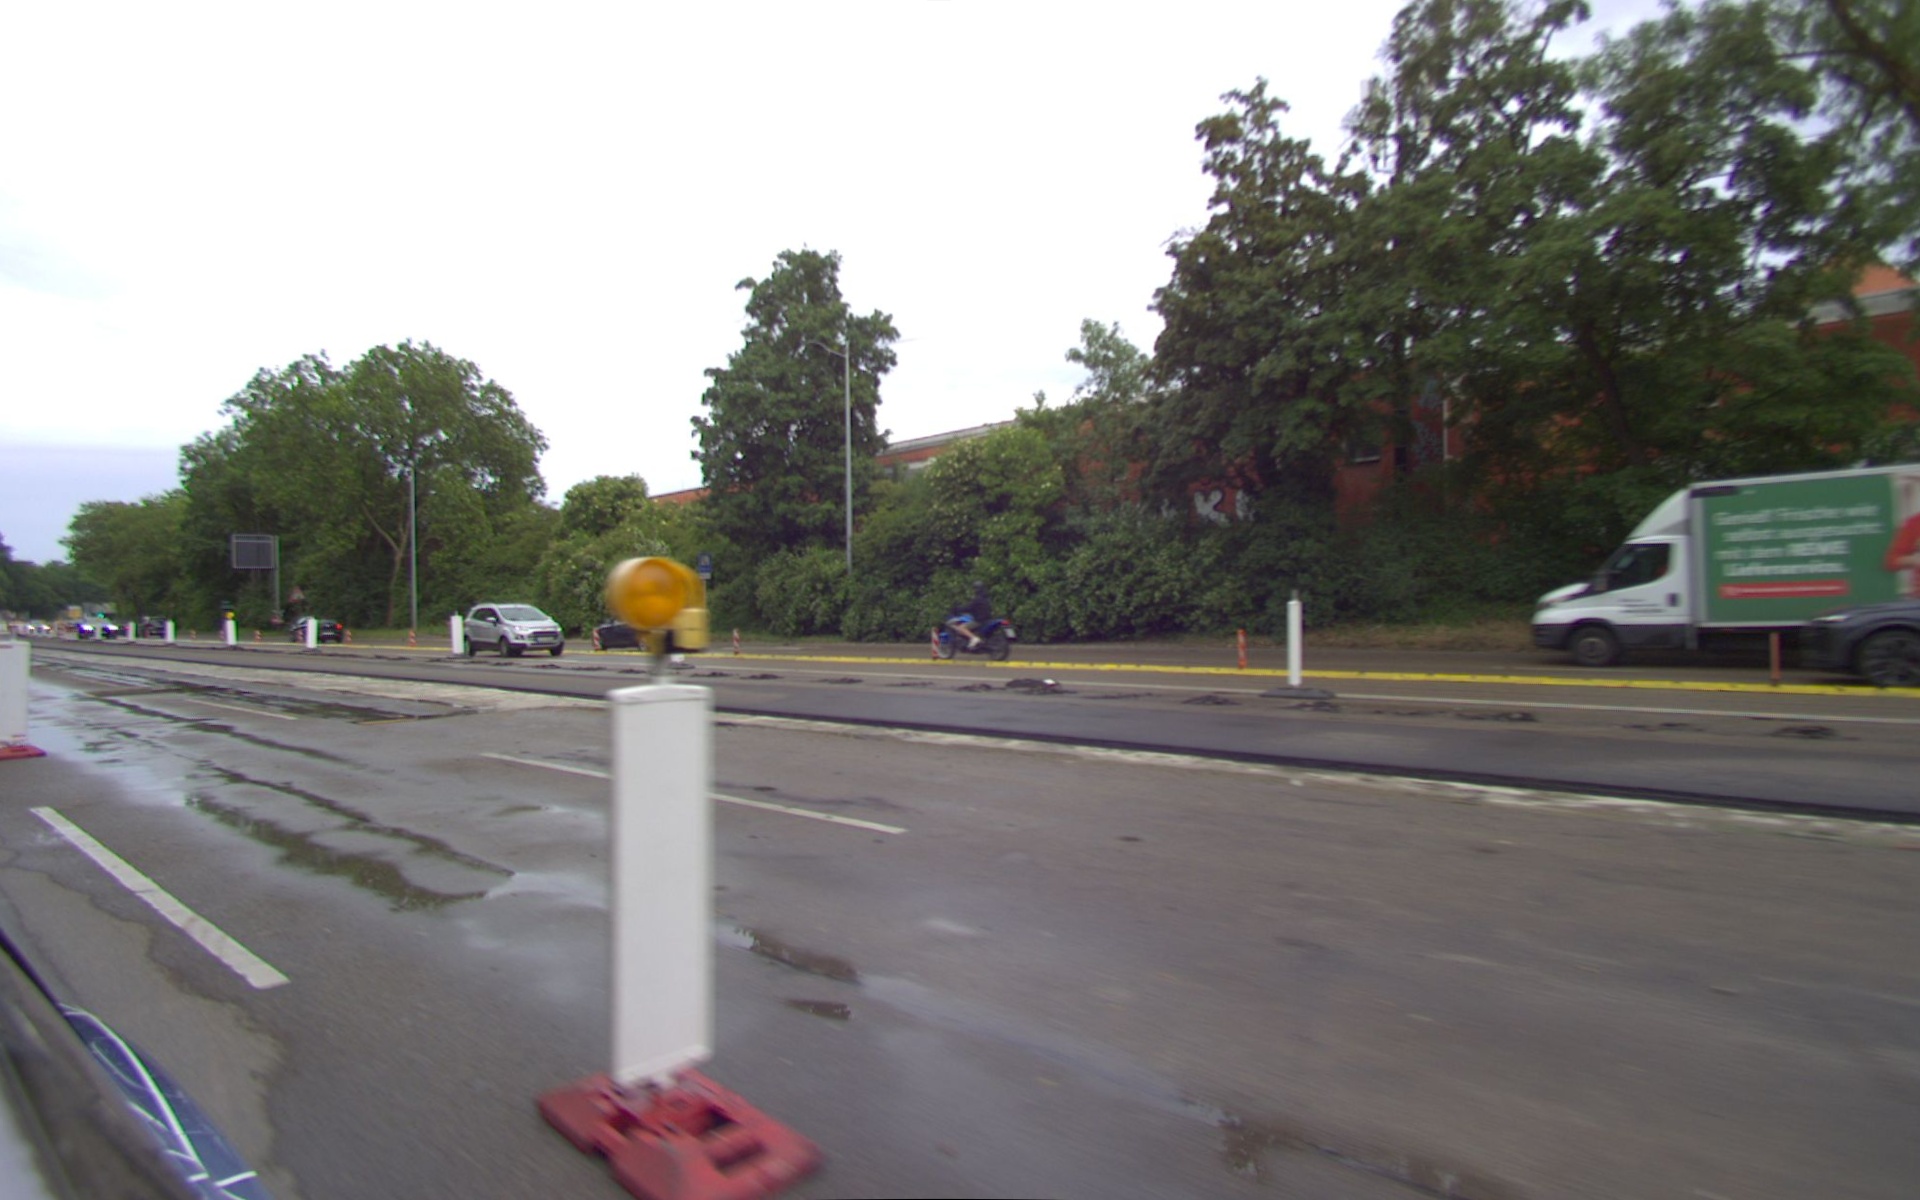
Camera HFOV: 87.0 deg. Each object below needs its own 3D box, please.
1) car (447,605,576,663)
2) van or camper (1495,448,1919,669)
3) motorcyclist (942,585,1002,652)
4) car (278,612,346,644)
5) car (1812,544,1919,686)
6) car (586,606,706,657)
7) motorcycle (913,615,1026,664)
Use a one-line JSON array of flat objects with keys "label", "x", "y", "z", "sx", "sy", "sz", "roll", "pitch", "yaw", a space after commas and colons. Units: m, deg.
[{"label": "car", "x": -13.739, "y": 1.041, "z": 30.892, "sx": 4.361, "sy": 1.575, "sz": 1.869, "roll": -2, "pitch": 1, "yaw": 41}, {"label": "van or camper", "x": 12.895, "y": -0.557, "z": 16.020, "sx": 7.448, "sy": 3.086, "sz": 2.274, "roll": -2, "pitch": 0, "yaw": 41}, {"label": "motorcyclist", "x": 0.267, "y": 0.409, "z": 22.459, "sx": 0.975, "sy": 1.421, "sz": 0.805, "roll": -2, "pitch": 1, "yaw": 41}, {"label": "car", "x": -34.440, "y": 1.494, "z": 53.778, "sx": 4.396, "sy": 1.563, "sz": 1.869, "roll": -2, "pitch": 0, "yaw": 41}, {"label": "car", "x": 13.238, "y": 0.140, "z": 11.959, "sx": 4.804, "sy": 1.706, "sz": 1.973, "roll": -2, "pitch": -1, "yaw": 41}, {"label": "car", "x": -9.928, "y": 0.985, "z": 31.859, "sx": 4.105, "sy": 1.453, "sz": 1.670, "roll": -2, "pitch": 0, "yaw": 41}, {"label": "motorcycle", "x": 0.189, "y": 0.865, "z": 22.531, "sx": 2.592, "sy": 0.996, "sz": 0.800, "roll": -2, "pitch": 1, "yaw": 41}]
